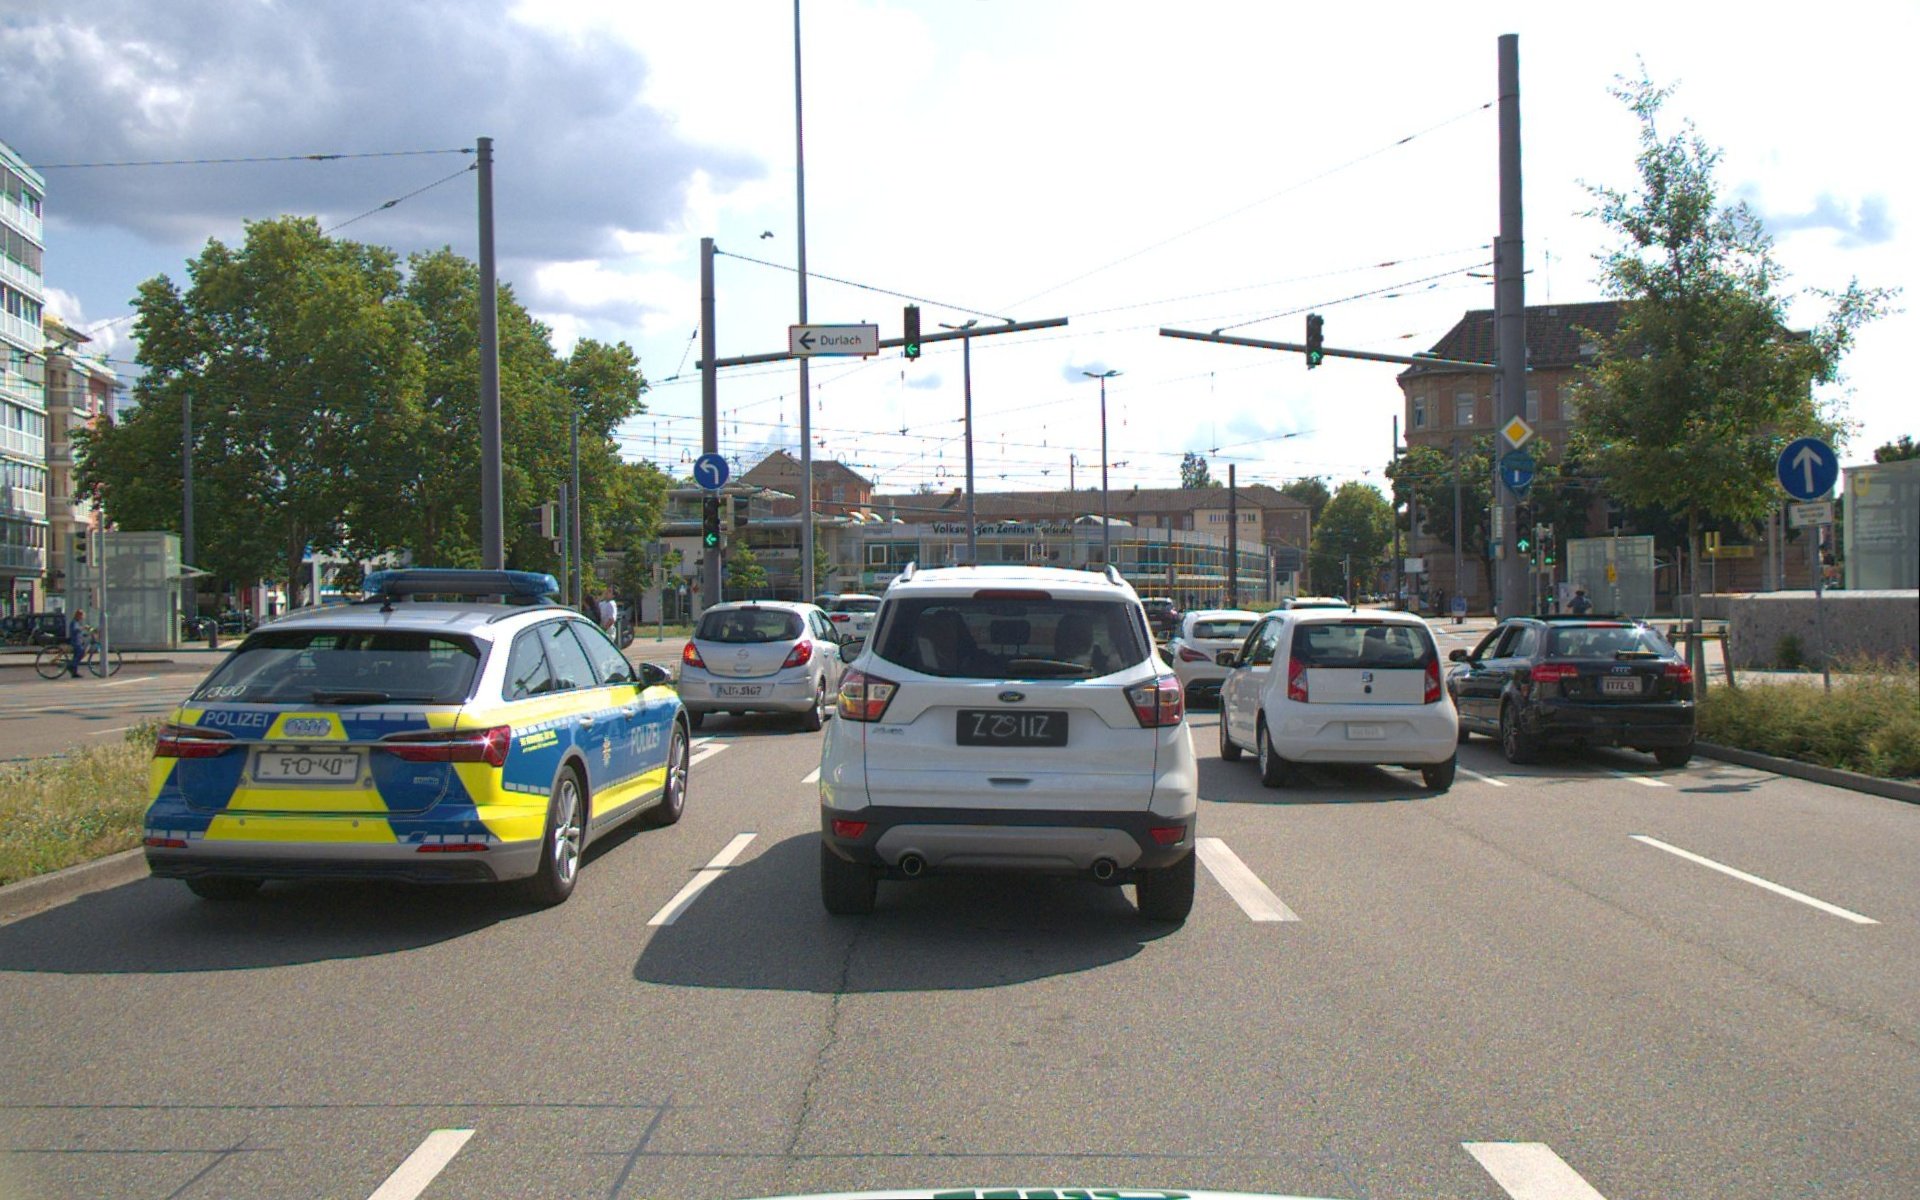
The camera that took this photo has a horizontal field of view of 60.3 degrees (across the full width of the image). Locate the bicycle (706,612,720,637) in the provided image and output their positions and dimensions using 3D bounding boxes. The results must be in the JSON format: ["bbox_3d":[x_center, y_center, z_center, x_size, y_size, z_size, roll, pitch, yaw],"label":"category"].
[{"bbox_3d":[-11.837,1.166,79.138,0.626,1.145,1.780,0,0,-10],"label":"bicycle"}]

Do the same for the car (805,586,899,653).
[{"bbox_3d":[-2.800,0.483,41.993,2.001,1.606,4.530,0,0,-9],"label":"car"}]

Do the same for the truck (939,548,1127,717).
[{"bbox_3d":[1.235,0.421,24.526,2.289,2.193,5.856,0,0,7],"label":"truck"}]

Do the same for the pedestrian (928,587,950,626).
[{"bbox_3d":[-0.965,0.285,75.788,0.904,1.774,0.589,1,-1,7],"label":"pedestrian"}]

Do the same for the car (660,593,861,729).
[{"bbox_3d":[-2.368,0.692,20.606,1.809,1.500,4.001,1,0,3],"label":"car"}]

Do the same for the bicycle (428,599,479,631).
[{"bbox_3d":[-22.631,0.662,73.967,2.133,1.439,0.809,0,0,-16],"label":"bicycle"}]

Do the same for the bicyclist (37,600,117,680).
[{"bbox_3d":[-20.041,0.906,37.567,1.271,1.761,0.994,-1,-1,-3],"label":"bicyclist"}]

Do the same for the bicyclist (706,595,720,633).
[{"bbox_3d":[-11.812,0.669,79.026,0.626,1.768,0.660,0,0,-10],"label":"bicyclist"}]

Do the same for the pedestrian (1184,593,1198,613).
[{"bbox_3d":[19.928,0.266,142.514,0.860,1.767,0.873,0,-1,35],"label":"pedestrian"}]

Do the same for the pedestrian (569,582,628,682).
[{"bbox_3d":[-6.182,0.547,28.307,0.830,1.677,0.692,-1,-1,-1],"label":"pedestrian"}]

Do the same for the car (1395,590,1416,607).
[{"bbox_3d":[45.524,-0.136,168.841,1.798,1.681,4.001,0,-1,19],"label":"car"}]

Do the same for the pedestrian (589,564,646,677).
[{"bbox_3d":[-6.015,0.365,29.094,0.830,1.950,0.692,-1,-1,-1],"label":"pedestrian"}]

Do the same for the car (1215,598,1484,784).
[{"bbox_3d":[3.439,0.728,15.299,1.615,1.446,4.001,-1,0,1],"label":"car"}]

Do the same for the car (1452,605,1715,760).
[{"bbox_3d":[6.366,0.771,17.347,1.662,1.396,4.136,-1,0,7],"label":"car"}]

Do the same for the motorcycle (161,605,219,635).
[{"bbox_3d":[-32.994,0.862,70.893,2.165,1.259,0.906,-1,1,17],"label":"motorcycle"}]

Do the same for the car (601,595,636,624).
[{"bbox_3d":[-25.322,0.730,122.639,1.955,2.049,4.226,-2,-1,-5],"label":"car"}]

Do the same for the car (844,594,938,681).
[{"bbox_3d":[-1.340,0.696,32.891,1.727,1.595,4.525,-1,0,-2],"label":"car"}]

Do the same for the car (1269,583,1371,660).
[{"bbox_3d":[8.196,0.485,37.943,1.797,1.681,4.002,0,-1,5],"label":"car"}]

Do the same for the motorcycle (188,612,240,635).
[{"bbox_3d":[-34.155,1.067,75.718,0.795,0.933,2.037,0,1,36],"label":"motorcycle"}]

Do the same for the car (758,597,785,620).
[{"bbox_3d":[-13.769,0.659,121.150,1.783,1.560,3.913,-2,-1,-5],"label":"car"}]

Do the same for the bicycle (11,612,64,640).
[{"bbox_3d":[-40.550,1.133,72.714,1.914,1.167,0.792,0,0,-19],"label":"bicycle"}]

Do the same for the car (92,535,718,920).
[{"bbox_3d":[-2.676,0.534,9.271,1.841,1.595,4.616,-1,0,1],"label":"car"}]

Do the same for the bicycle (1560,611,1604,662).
[{"bbox_3d":[13.531,0.779,35.980,0.829,0.987,1.961,-3,0,21],"label":"bicycle"}]

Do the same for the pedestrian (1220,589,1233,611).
[{"bbox_3d":[24.064,0.007,149.179,0.859,1.956,0.874,1,-1,32],"label":"pedestrian"}]

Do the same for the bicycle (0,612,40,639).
[{"bbox_3d":[-40.798,1.103,71.407,1.776,1.167,0.792,0,0,-19],"label":"bicycle"}]

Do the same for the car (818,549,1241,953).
[{"bbox_3d":[0.392,0.643,9.014,1.789,1.693,3.957,0,0,3],"label":"car"}]

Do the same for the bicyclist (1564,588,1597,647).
[{"bbox_3d":[13.542,0.380,36.117,0.622,1.241,0.924,-2,0,21],"label":"bicyclist"}]

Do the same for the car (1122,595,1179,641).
[{"bbox_3d":[6.272,0.585,54.622,1.810,1.444,3.681,0,0,6],"label":"car"}]

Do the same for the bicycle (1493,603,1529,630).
[{"bbox_3d":[16.744,0.495,50.291,0.572,0.789,1.621,-1,0,1],"label":"bicycle"}]

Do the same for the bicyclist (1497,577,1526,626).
[{"bbox_3d":[16.752,0.046,50.253,0.595,1.476,0.774,-1,0,0],"label":"bicyclist"}]

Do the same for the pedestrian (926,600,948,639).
[{"bbox_3d":[-1.070,0.897,76.859,0.904,1.774,0.589,1,-1,7],"label":"pedestrian"}]

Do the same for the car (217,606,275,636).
[{"bbox_3d":[-35.508,1.060,82.301,1.872,1.438,3.987,-1,-1,-12],"label":"car"}]

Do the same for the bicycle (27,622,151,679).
[{"bbox_3d":[-19.764,1.148,37.575,2.247,1.209,0.994,-1,-1,-3],"label":"bicycle"}]

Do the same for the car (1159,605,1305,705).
[{"bbox_3d":[4.124,0.795,25.604,1.811,1.444,3.680,0,0,2],"label":"car"}]

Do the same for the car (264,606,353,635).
[{"bbox_3d":[-33.641,1.076,85.468,3.907,1.350,1.632,-2,-1,-3],"label":"car"}]
